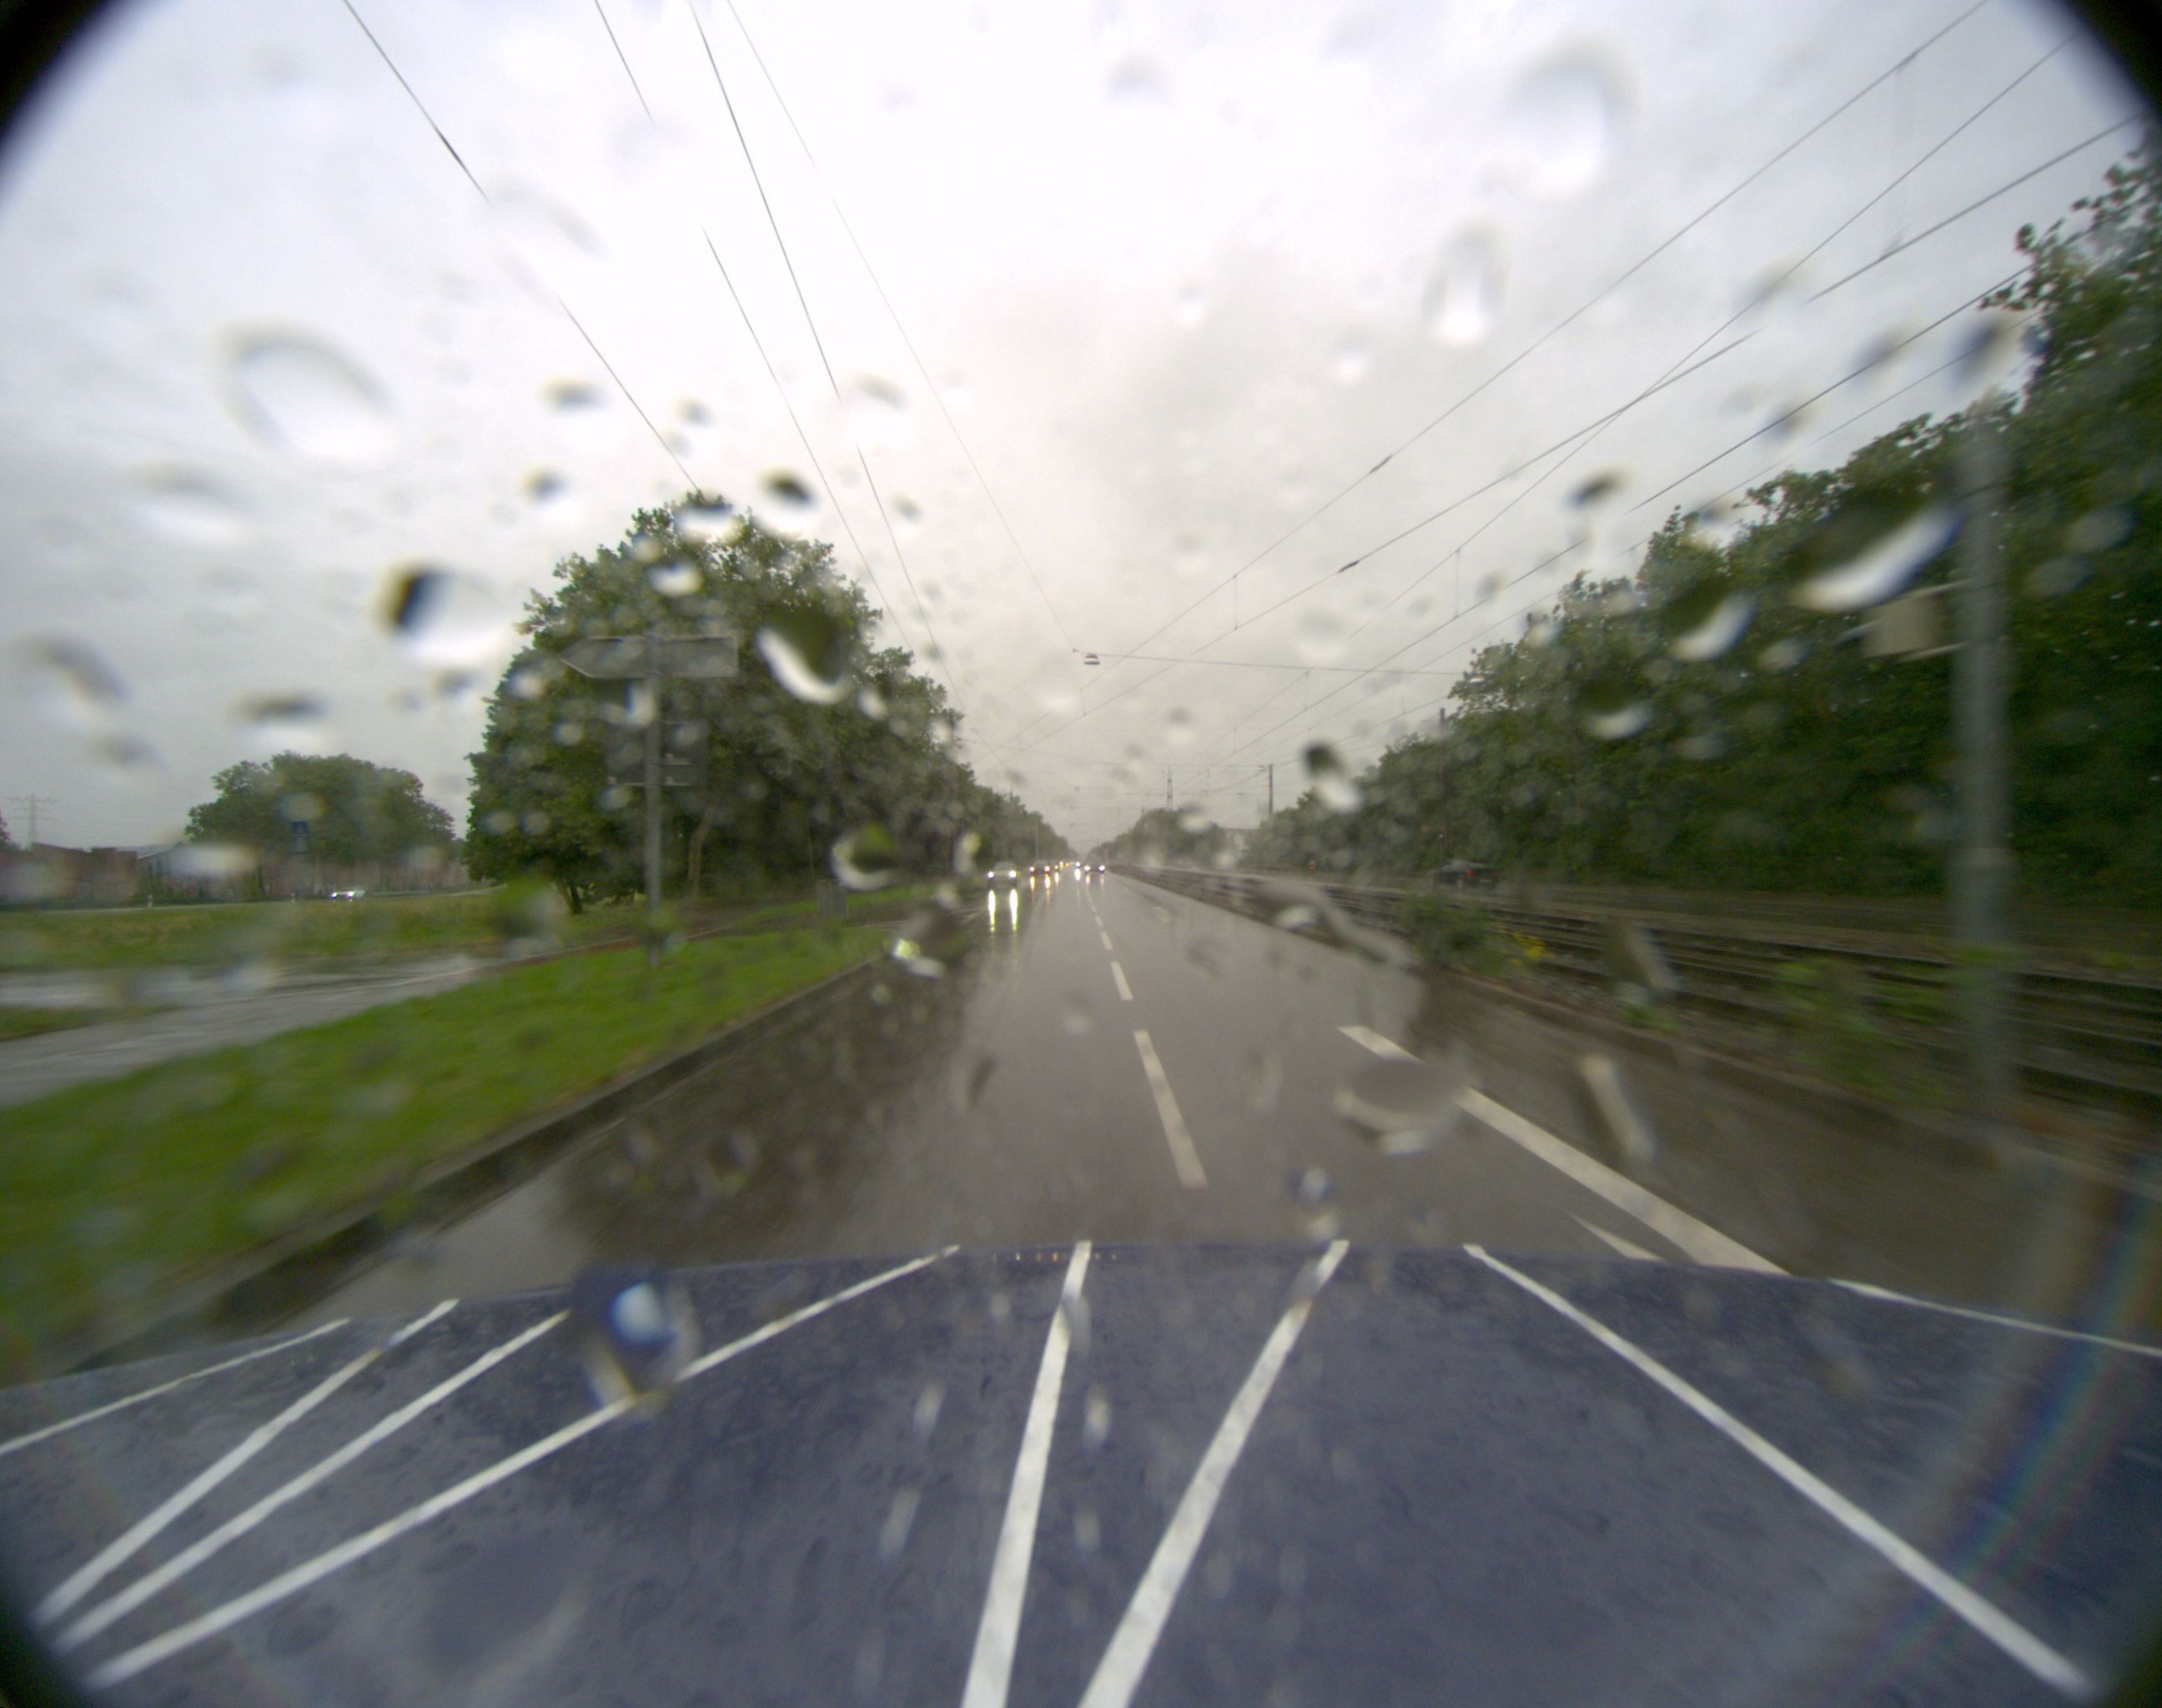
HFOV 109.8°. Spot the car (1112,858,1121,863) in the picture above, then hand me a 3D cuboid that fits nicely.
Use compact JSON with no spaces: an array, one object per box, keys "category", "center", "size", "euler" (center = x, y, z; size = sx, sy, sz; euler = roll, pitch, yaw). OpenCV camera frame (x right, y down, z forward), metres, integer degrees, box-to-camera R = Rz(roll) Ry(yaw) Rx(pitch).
[{"category":"car","center":[9.390,1.751,200.199],"size":[1.999,1.380,4.852],"euler":[-1,0,-2]}]

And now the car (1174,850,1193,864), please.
[{"category":"car","center":[14.533,0.450,107.802],"size":[1.999,1.772,4.000],"euler":[-5,0,-1]}]

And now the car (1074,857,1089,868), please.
[{"category":"car","center":[0.054,1.221,109.255],"size":[1.971,1.412,3.999],"euler":[0,0,-1]}]

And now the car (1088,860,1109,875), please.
[{"category":"car","center":[1.786,1.317,77.320],"size":[1.971,1.412,3.999],"euler":[0,0,-1]}]

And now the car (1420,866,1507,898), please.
[{"category":"car","center":[17.959,1.260,35.899],"size":[1.776,1.322,4.379],"euler":[-1,0,-2]}]

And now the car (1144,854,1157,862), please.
[{"category":"car","center":[13.971,0.805,153.499],"size":[1.999,1.662,4.871],"euler":[-1,0,-2]}]

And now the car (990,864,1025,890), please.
[{"category":"car","center":[-4.367,1.364,45.725],"size":[1.751,1.412,3.999],"euler":[0,0,-1]}]

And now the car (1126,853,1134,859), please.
[{"category":"car","center":[13.043,0.420,203.106],"size":[1.846,1.565,4.384],"euler":[-1,0,-1]}]
